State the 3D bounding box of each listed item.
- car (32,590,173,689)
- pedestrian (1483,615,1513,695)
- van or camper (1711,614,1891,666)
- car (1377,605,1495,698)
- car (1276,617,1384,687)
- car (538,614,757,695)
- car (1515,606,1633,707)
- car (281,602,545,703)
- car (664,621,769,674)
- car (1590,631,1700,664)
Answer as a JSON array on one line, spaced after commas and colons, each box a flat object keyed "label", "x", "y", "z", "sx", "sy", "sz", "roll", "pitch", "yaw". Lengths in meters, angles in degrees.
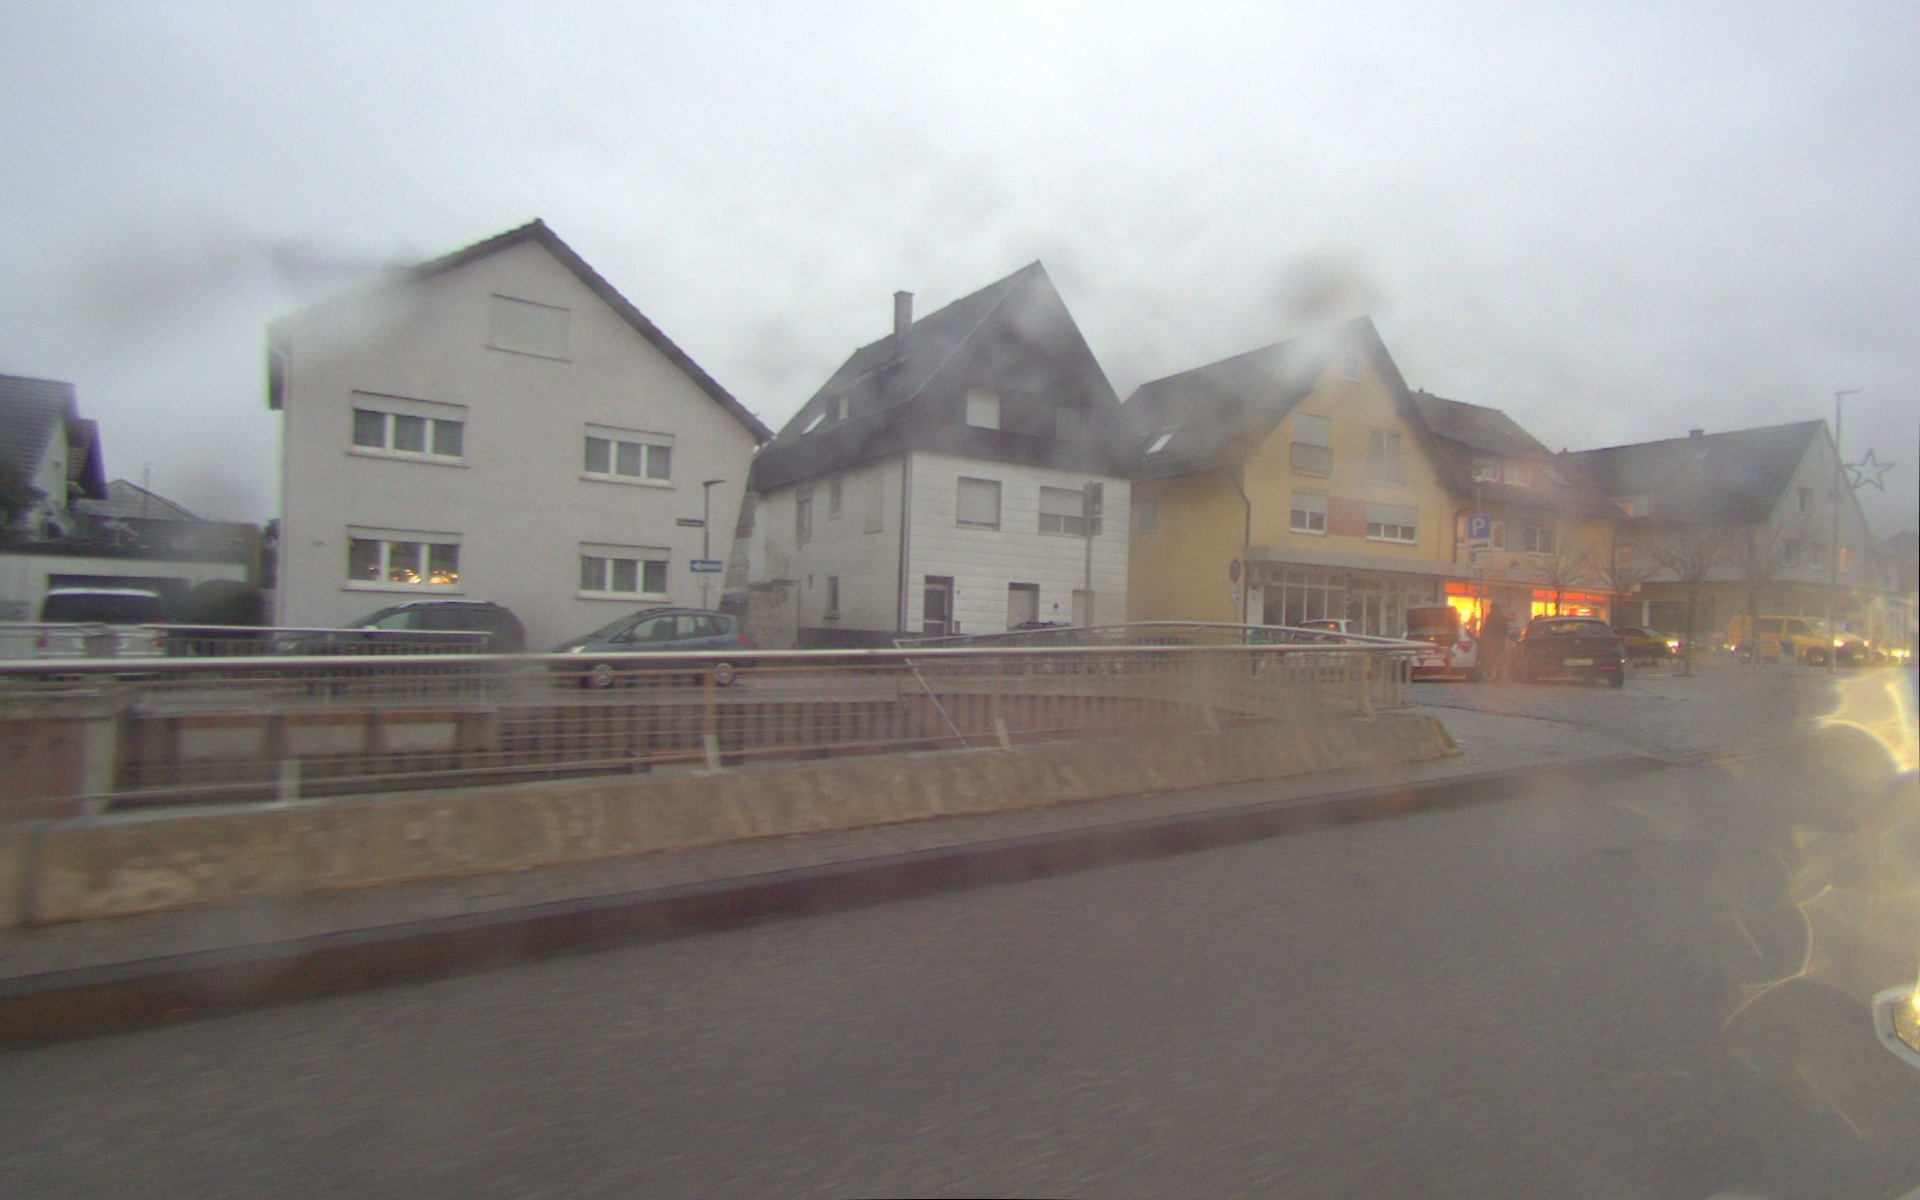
[{"label": "car", "x": -16.458, "y": 0.742, "z": 19.458, "sx": 1.848, "sy": 1.716, "sz": 3.957, "roll": 1, "pitch": -2, "yaw": -38}, {"label": "pedestrian", "x": 11.816, "y": 1.197, "z": 22.067, "sx": 0.489, "sy": 1.724, "sz": 0.711, "roll": -1, "pitch": -2, "yaw": 33}, {"label": "van or camper", "x": 34.266, "y": 1.565, "z": 41.159, "sx": 1.967, "sy": 1.980, "sz": 5.530, "roll": 1, "pitch": -1, "yaw": -16}, {"label": "car", "x": 11.244, "y": 1.138, "z": 23.589, "sx": 2.009, "sy": 1.951, "sz": 4.046, "roll": 0, "pitch": -1, "yaw": 33}, {"label": "car", "x": 9.654, "y": 1.285, "z": 26.018, "sx": 1.796, "sy": 1.634, "sz": 4.046, "roll": 0, "pitch": -1, "yaw": 33}, {"label": "car", "x": -6.692, "y": 1.112, "z": 21.636, "sx": 4.173, "sy": 1.583, "sz": 1.899, "roll": 1, "pitch": -1, "yaw": -33}, {"label": "car", "x": 13.390, "y": 1.151, "z": 21.878, "sx": 2.009, "sy": 1.951, "sz": 4.046, "roll": 0, "pitch": -1, "yaw": 33}, {"label": "car", "x": -10.331, "y": 0.938, "z": 19.086, "sx": 4.178, "sy": 1.705, "sz": 1.897, "roll": 1, "pitch": -1, "yaw": -37}, {"label": "car", "x": -7.382, "y": 1.384, "z": 30.219, "sx": 1.824, "sy": 1.431, "sz": 3.962, "roll": 1, "pitch": -1, "yaw": -34}, {"label": "car", "x": 32.248, "y": 2.205, "z": 47.411, "sx": 1.709, "sy": 1.383, "sz": 3.964, "roll": 1, "pitch": -1, "yaw": -33}]
